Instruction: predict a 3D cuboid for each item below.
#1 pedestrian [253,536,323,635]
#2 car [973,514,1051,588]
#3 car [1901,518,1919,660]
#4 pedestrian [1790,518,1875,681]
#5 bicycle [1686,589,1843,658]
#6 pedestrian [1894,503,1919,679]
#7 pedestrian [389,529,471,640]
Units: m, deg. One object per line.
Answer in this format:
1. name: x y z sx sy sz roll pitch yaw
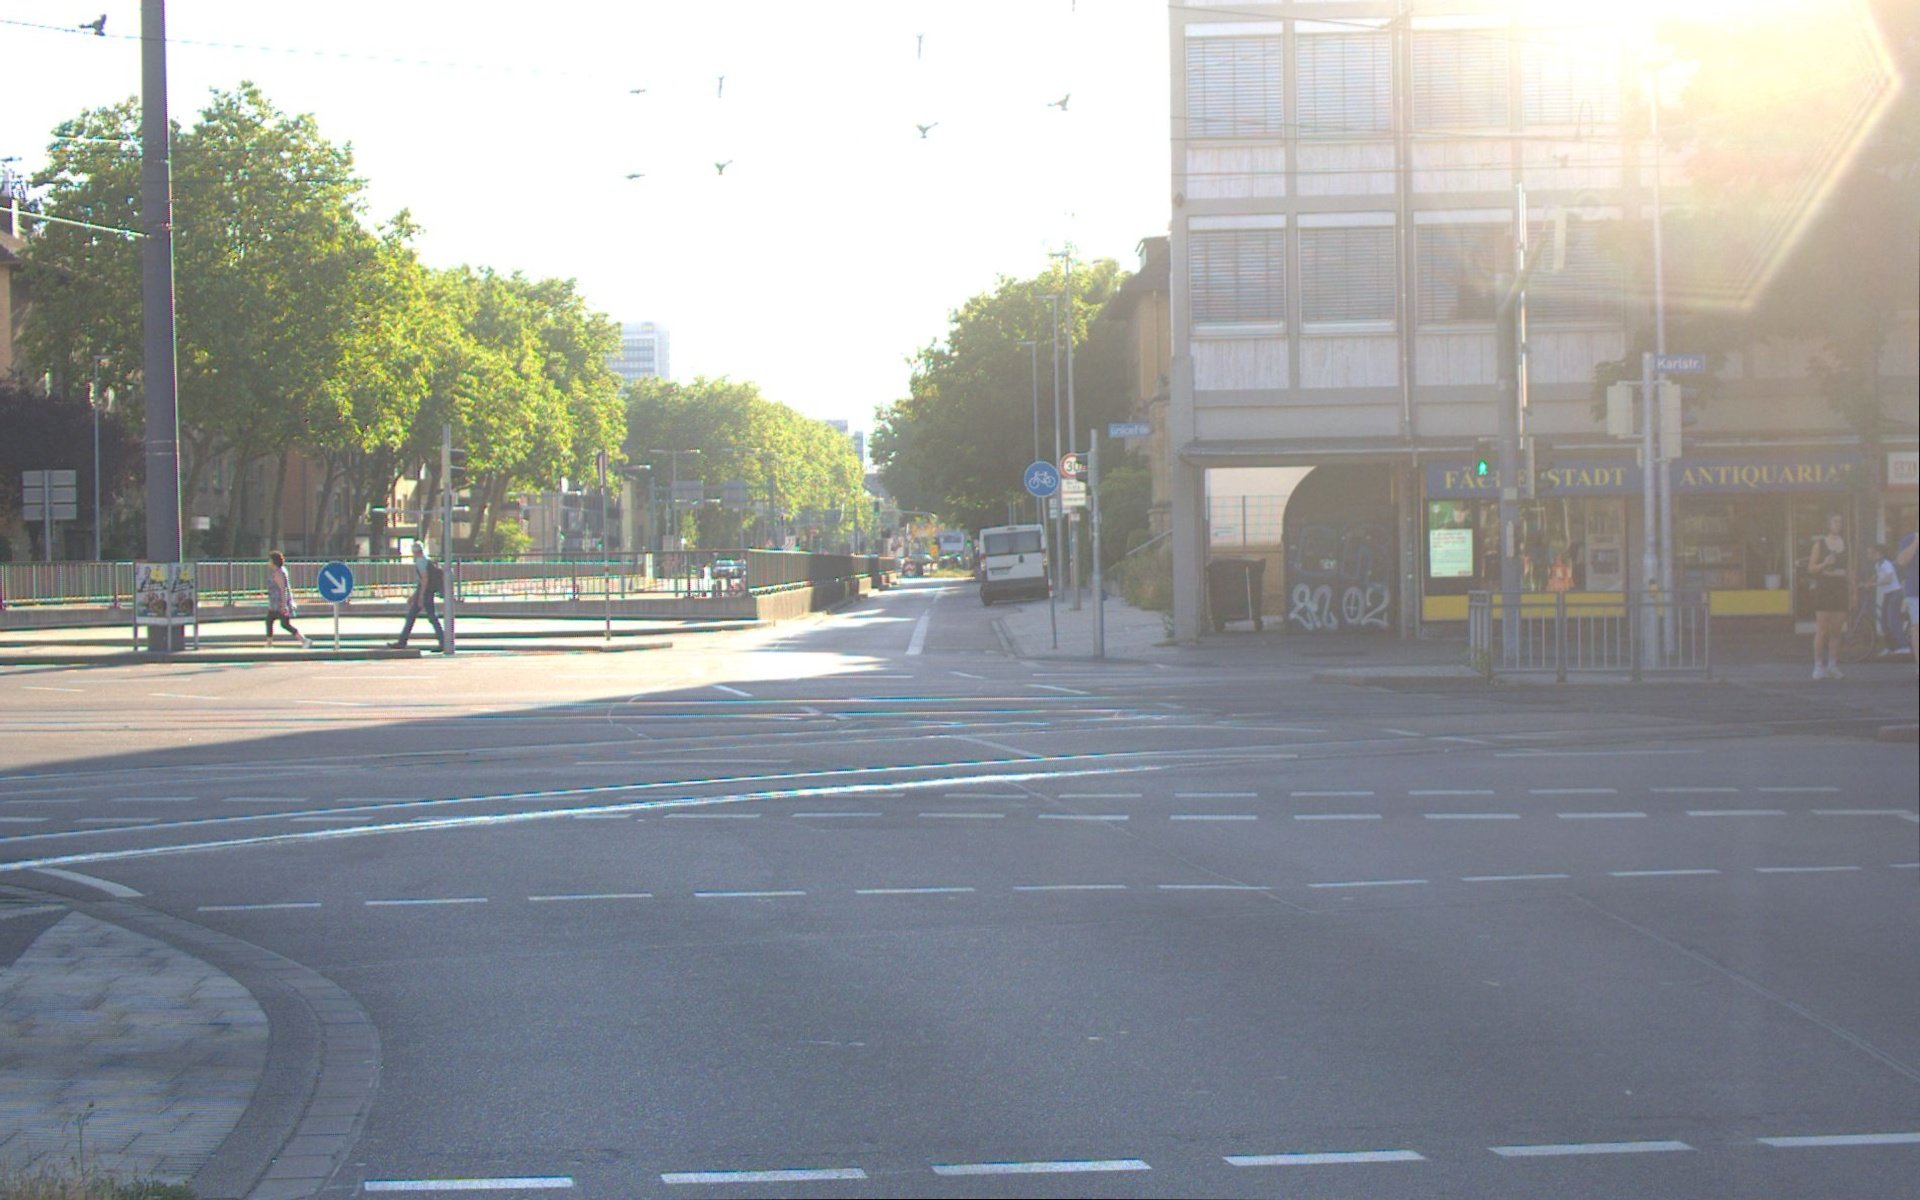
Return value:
1. pedestrian: -10.203 -0.213 52.174 0.853 1.460 0.686 1 -5 -29
2. car: 1.598 -1.468 103.913 2.286 2.165 4.833 1 1 1
3. car: 12.905 -0.093 39.009 3.987 1.612 1.844 1 0 5
4. pedestrian: 9.142 -0.007 36.055 0.695 1.676 1.042 1 0 6
5. bicycle: 11.275 0.324 48.220 2.024 0.937 0.671 1 0 -1
6. pedestrian: 10.037 -0.094 35.441 0.695 1.787 1.041 1 0 11
7. pedestrian: -8.340 -0.242 54.115 1.194 1.725 0.856 1 0 -5
